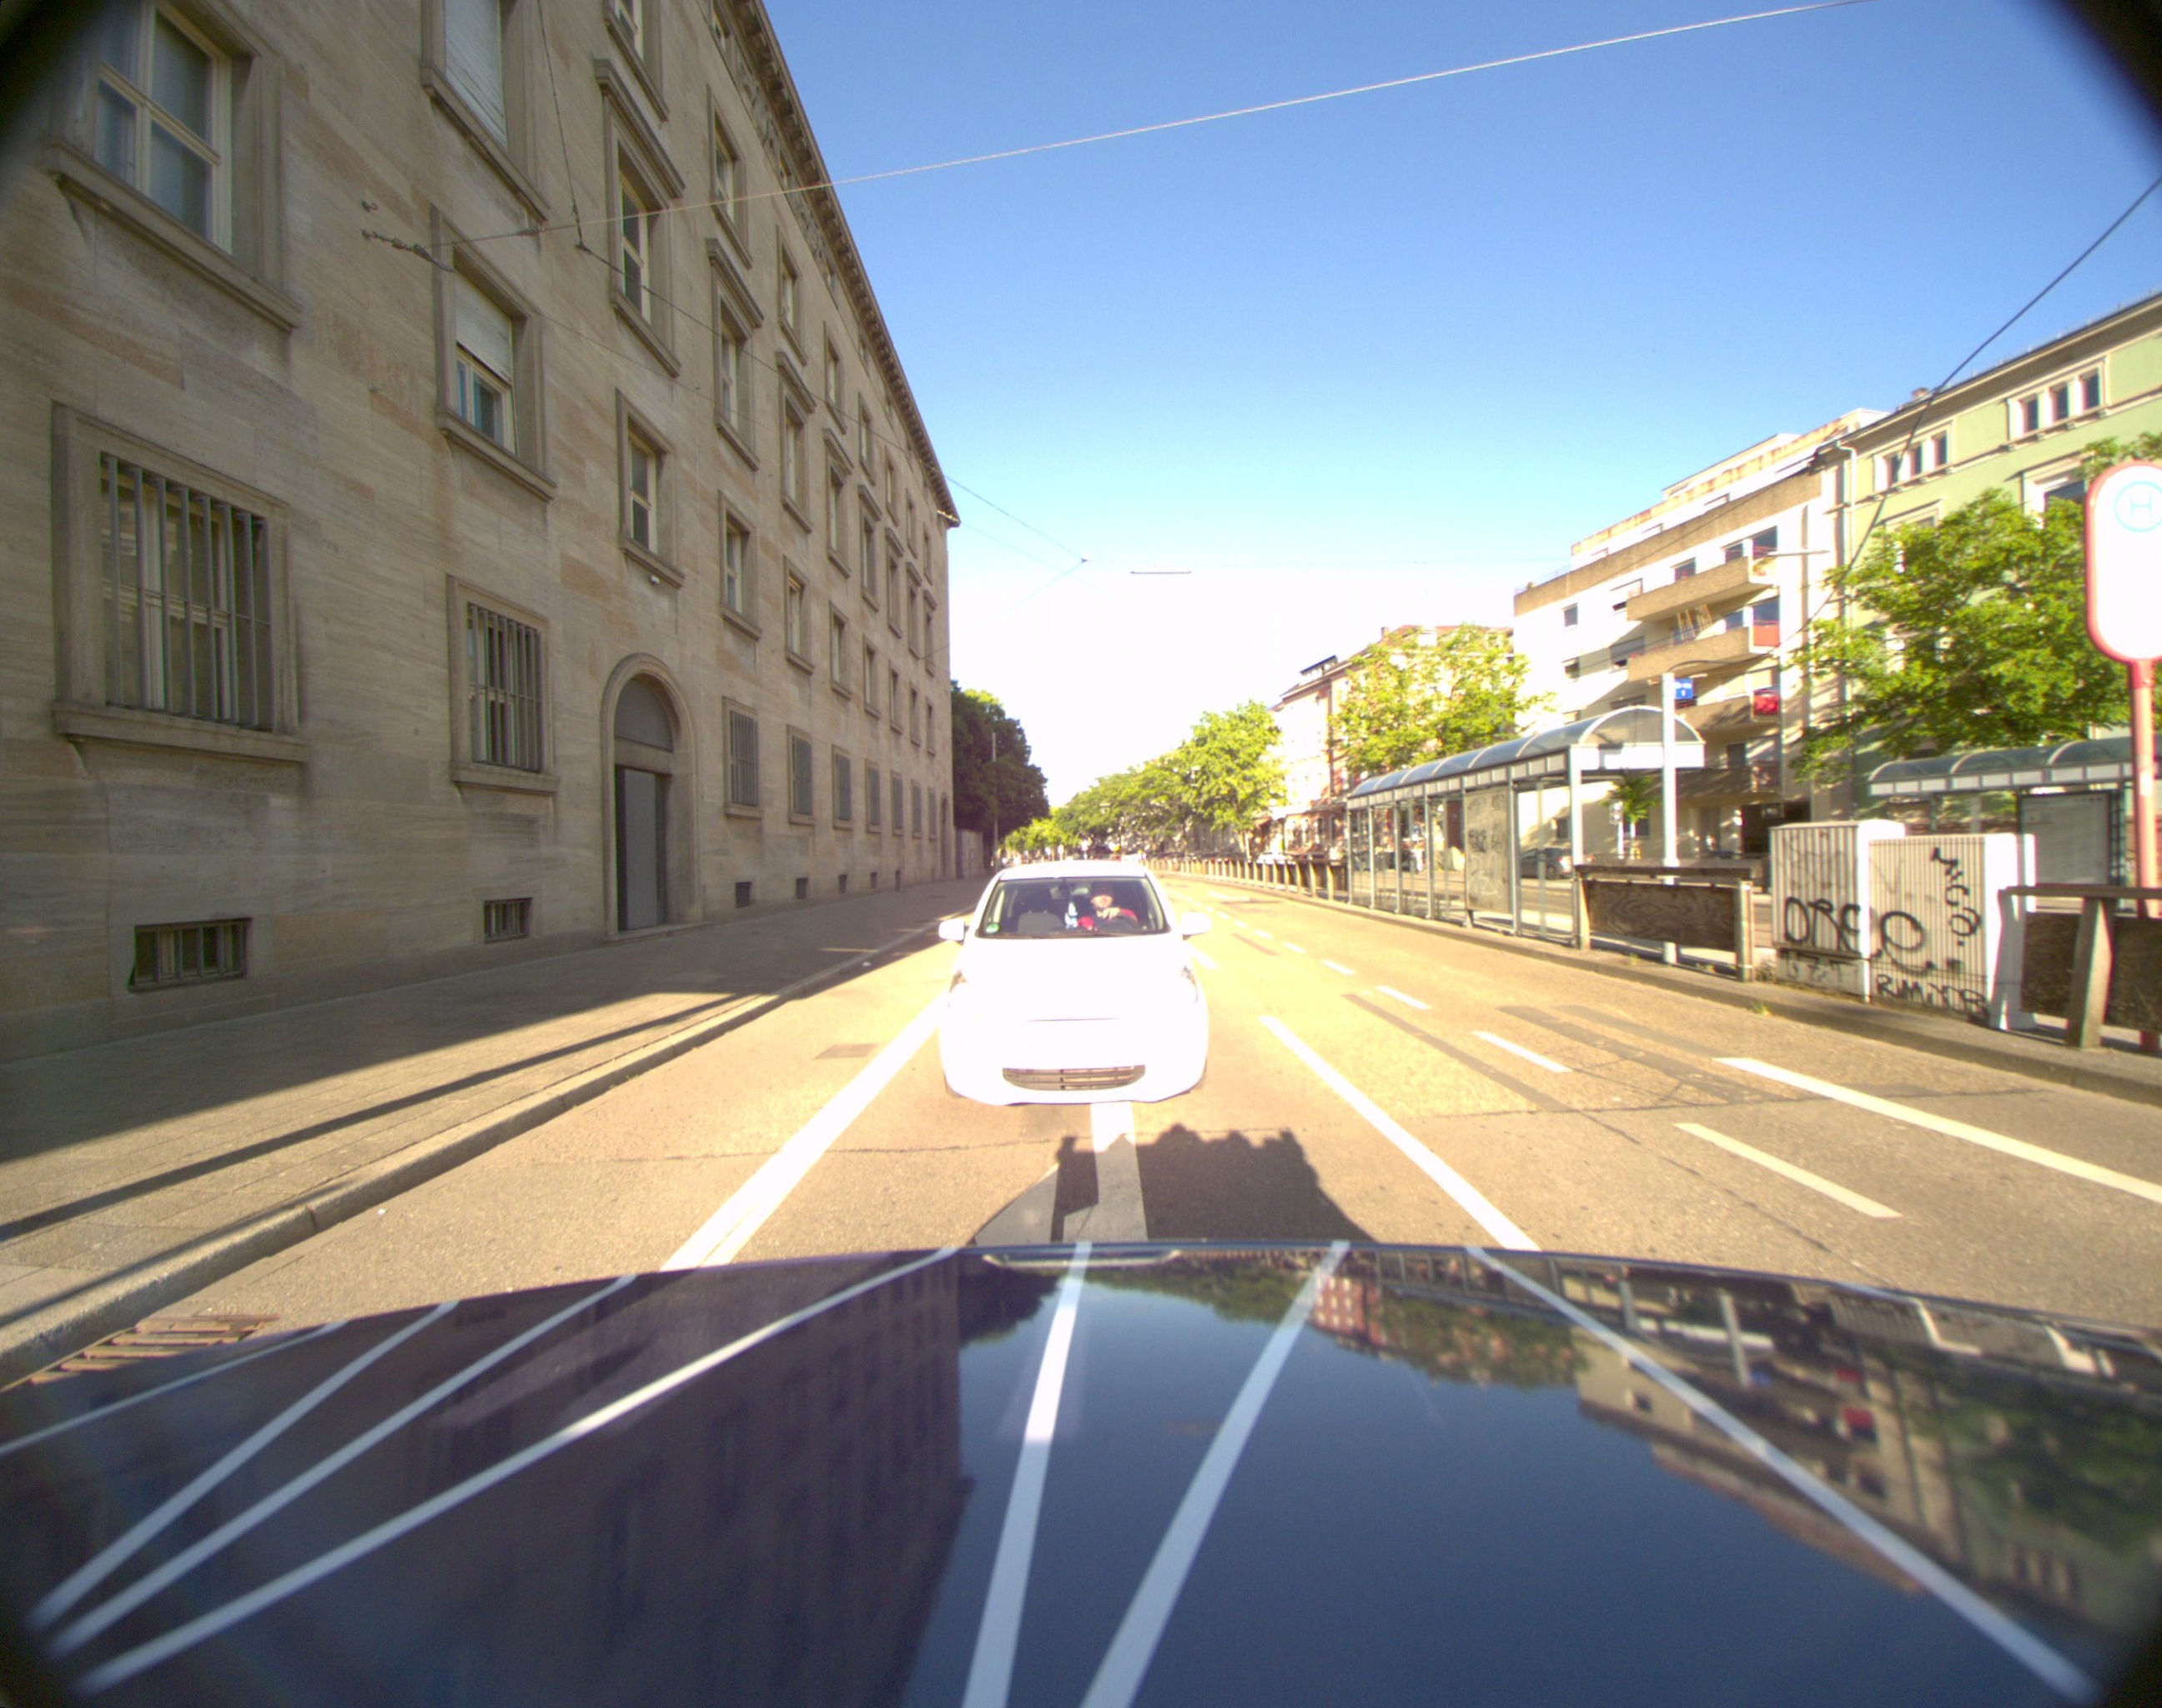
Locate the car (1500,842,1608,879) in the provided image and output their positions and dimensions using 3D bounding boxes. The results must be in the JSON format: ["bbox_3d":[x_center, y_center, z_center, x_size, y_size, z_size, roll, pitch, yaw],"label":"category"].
[{"bbox_3d":[21.072,0.274,34.031,2.000,1.521,3.997,-1,0,-8],"label":"car"}]

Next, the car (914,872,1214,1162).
[{"bbox_3d":[-0.069,0.938,5.970,1.606,1.455,3.621,-1,0,1],"label":"car"}]

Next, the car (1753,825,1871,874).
[{"bbox_3d":[31.566,-0.211,32.856,4.001,2.002,1.798,-1,1,-13],"label":"car"}]

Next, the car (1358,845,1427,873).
[{"bbox_3d":[18.265,0.263,44.788,2.000,1.521,3.997,-1,0,-8],"label":"car"}]

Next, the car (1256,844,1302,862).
[{"bbox_3d":[16.492,-0.087,63.282,3.648,1.342,1.578,-2,1,-29],"label":"car"}]
